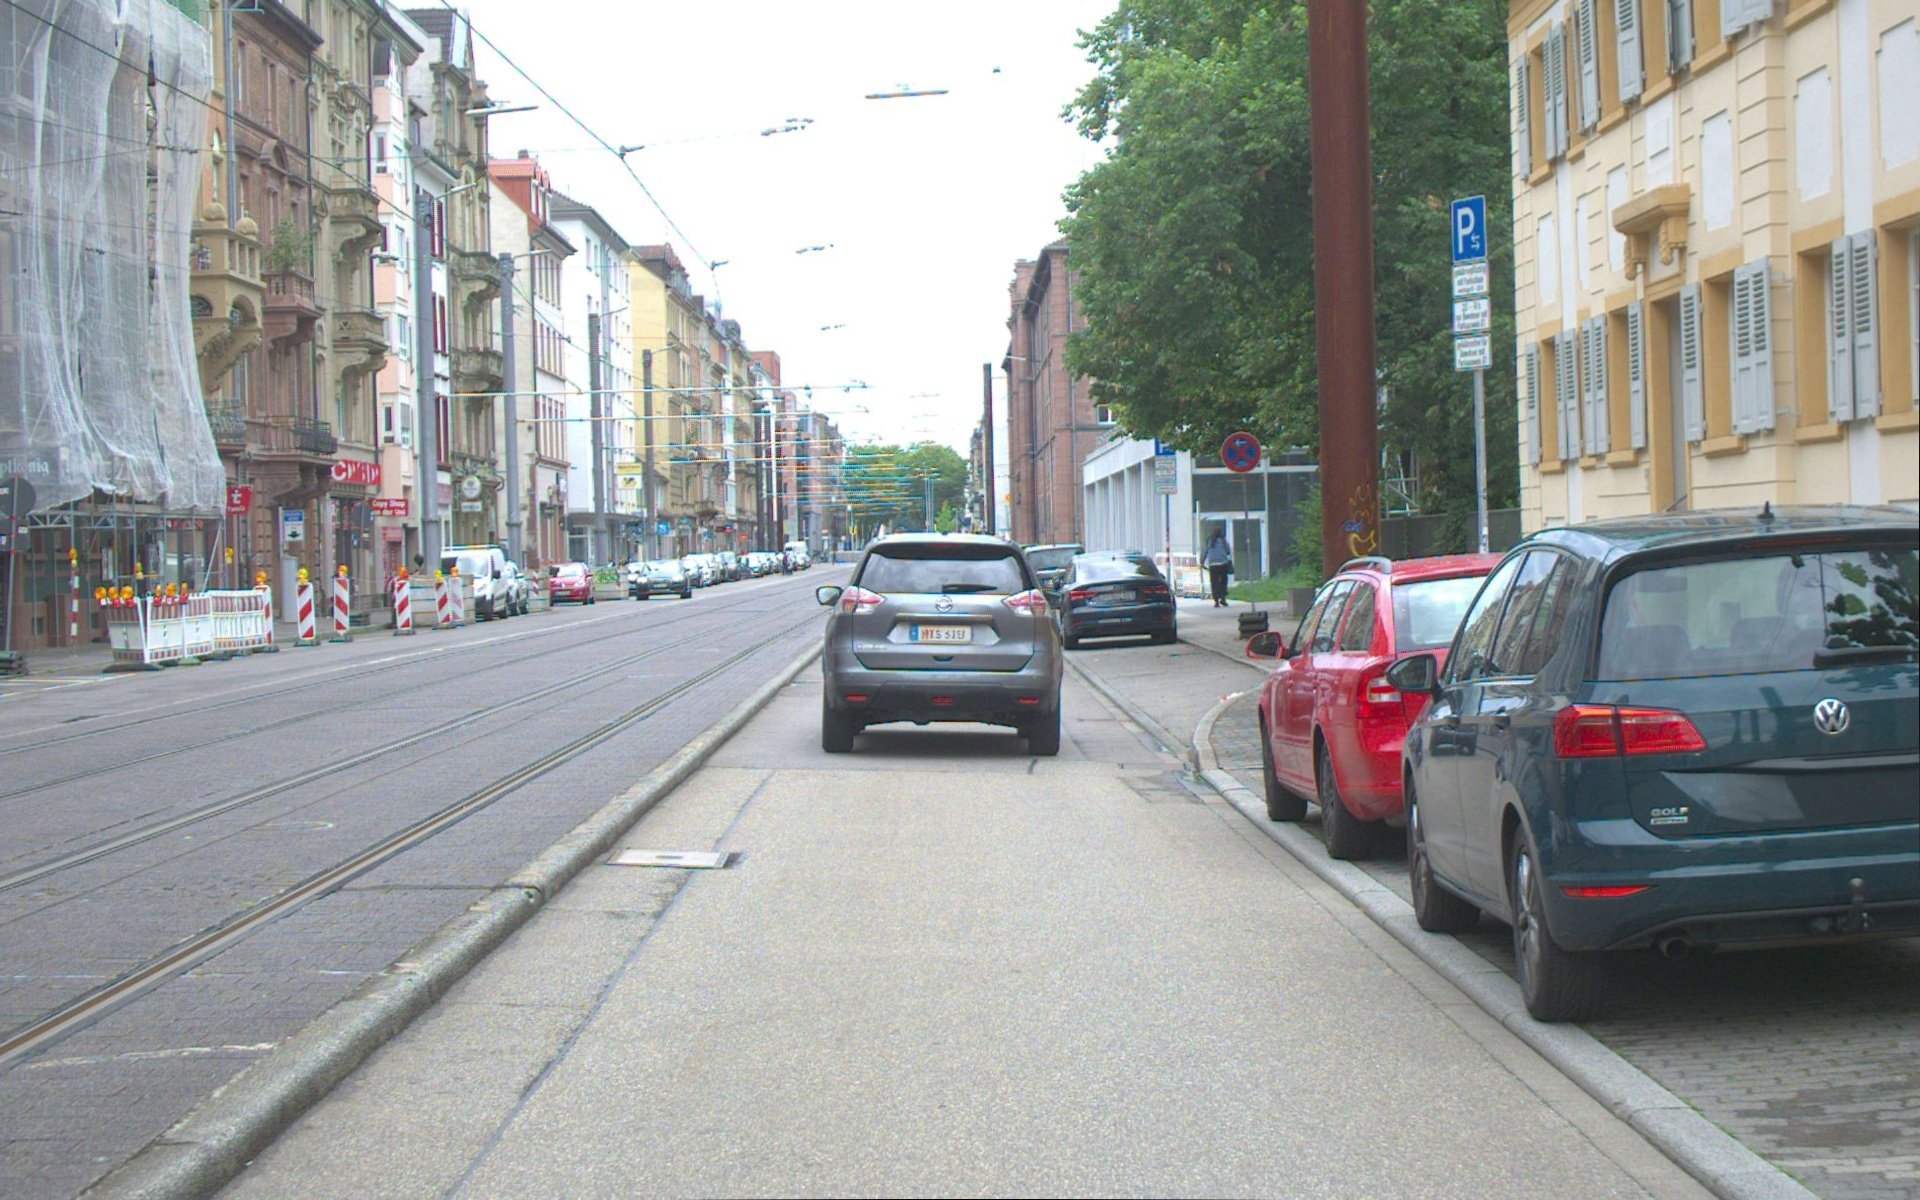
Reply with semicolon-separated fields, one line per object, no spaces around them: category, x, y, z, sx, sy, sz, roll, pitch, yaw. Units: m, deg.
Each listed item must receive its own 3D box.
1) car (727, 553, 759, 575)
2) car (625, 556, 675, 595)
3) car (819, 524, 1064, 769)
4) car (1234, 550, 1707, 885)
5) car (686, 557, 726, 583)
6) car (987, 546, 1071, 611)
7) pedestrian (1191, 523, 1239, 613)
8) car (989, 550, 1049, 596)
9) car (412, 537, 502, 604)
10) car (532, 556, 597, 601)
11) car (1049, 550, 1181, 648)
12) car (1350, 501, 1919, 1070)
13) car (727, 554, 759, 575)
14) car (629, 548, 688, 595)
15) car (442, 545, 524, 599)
car;-13.604;-2.248;215.786;1.993;1.262;4.000;-1;0;-3
car;-13.295;-1.044;147.652;1.993;1.629;4.000;-1;0;-3
car;-0.161;0.315;27.223;1.749;1.750;3.924;2;1;-1
car;2.528;0.518;17.914;1.749;1.436;3.924;-4;1;-1
car;-13.055;-1.559;176.778;1.993;1.262;4.000;-1;0;-3
car;1.556;-0.510;79.244;1.776;1.415;4.135;-1;1;-1
pedestrian;5.401;-0.678;72.788;0.910;1.880;0.846;-1;0;-1
car;1.890;-0.887;110.388;1.776;1.415;4.135;-1;1;-1
car;-13.301;-0.767;91.105;1.993;1.700;4.000;-1;0;-3
car;-13.454;-0.707;117.132;1.993;1.459;4.000;-1;0;-3
car;2.367;-0.049;53.380;1.776;1.415;4.135;-1;1;-1
car;2.542;0.506;12.112;1.749;1.590;3.924;-4;1;-1
car;-13.898;-2.272;220.069;1.993;1.262;4.000;-1;0;-3
car;-10.861;-1.004;124.026;1.993;1.629;4.000;-1;0;-3
car;-13.533;-0.785;97.761;1.993;1.459;4.000;-1;0;-3
